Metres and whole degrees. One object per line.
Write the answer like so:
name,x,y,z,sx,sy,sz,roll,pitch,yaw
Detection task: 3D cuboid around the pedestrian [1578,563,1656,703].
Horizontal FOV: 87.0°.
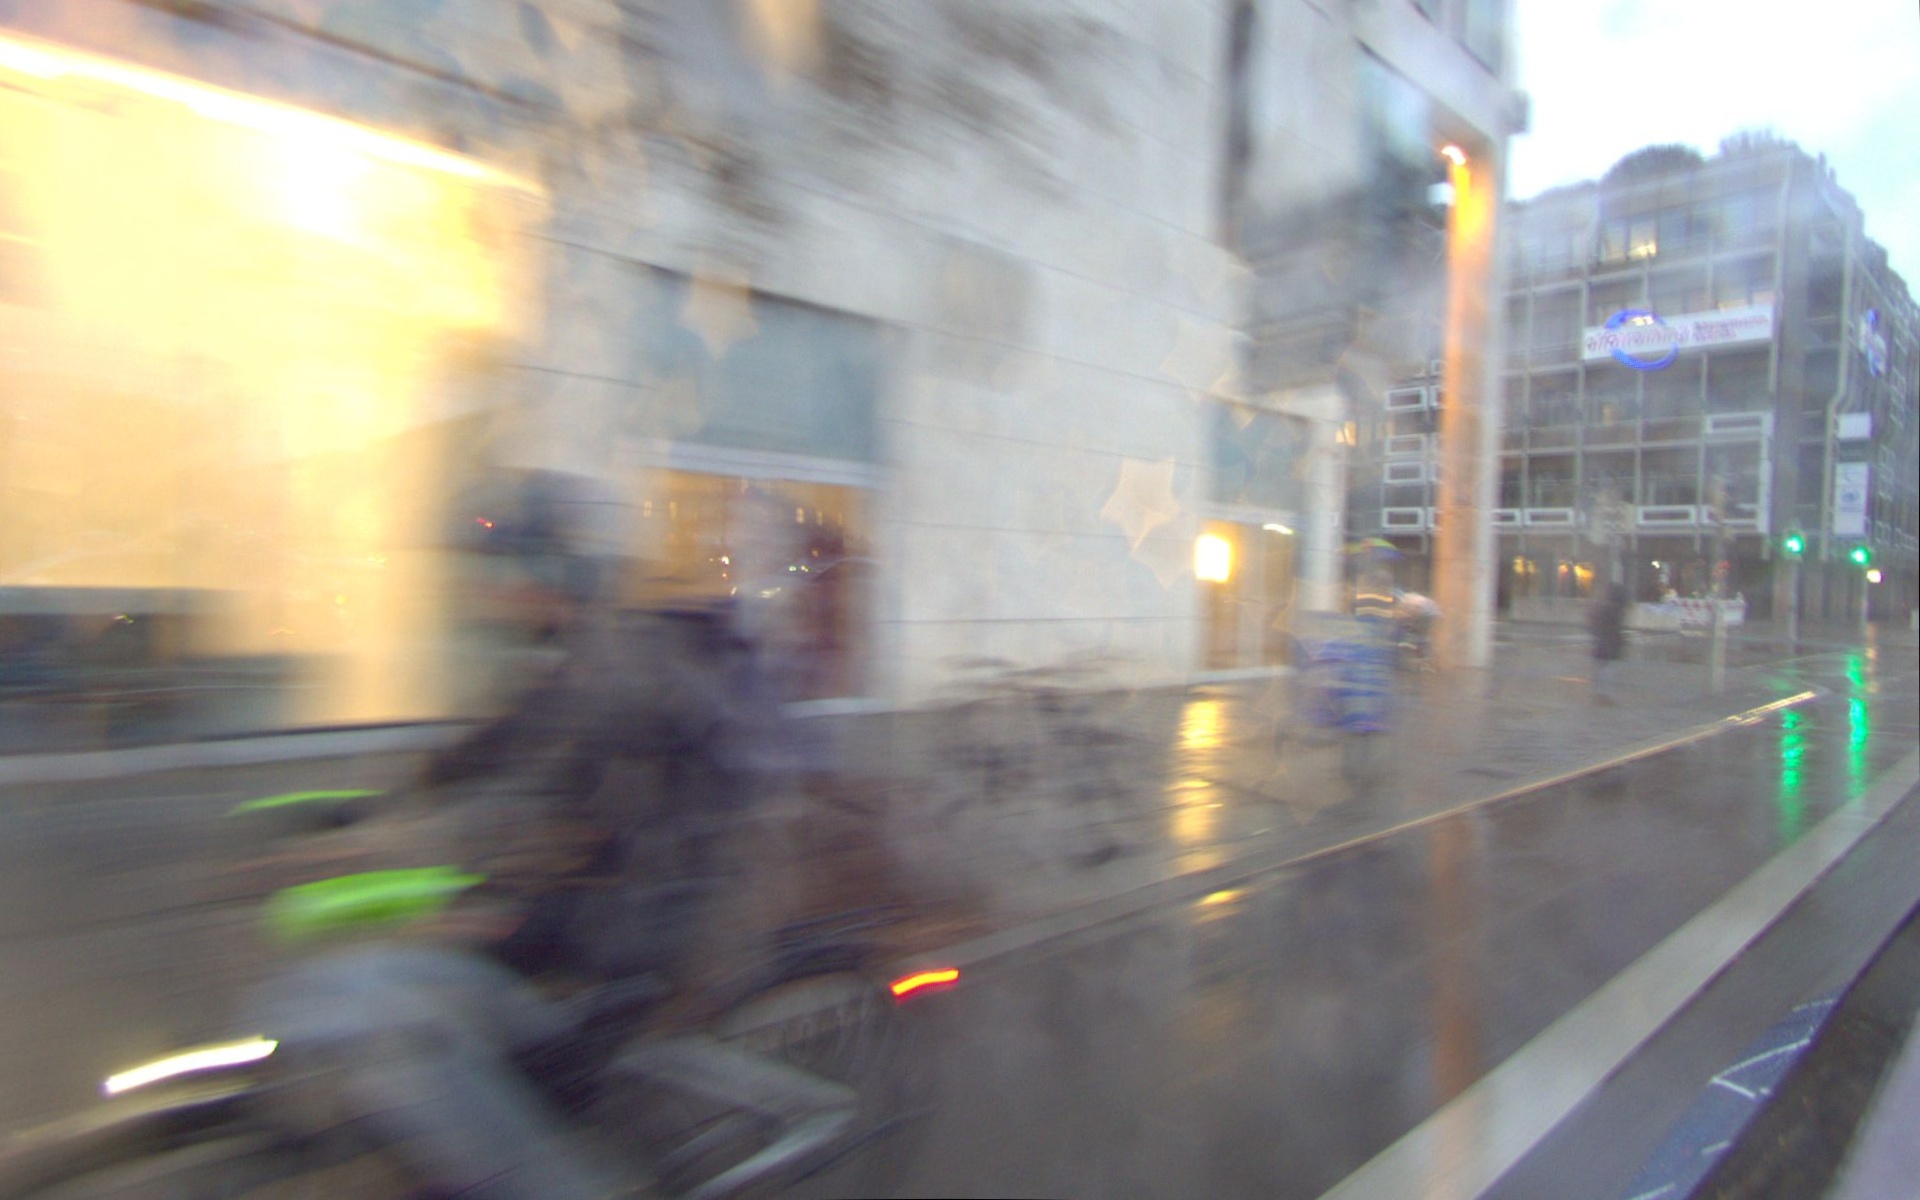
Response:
pedestrian,8.528,0.405,13.126,0.704,1.715,0.714,4,3,38

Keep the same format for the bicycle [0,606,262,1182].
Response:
bicycle,-2.693,0.686,3.151,0.655,1.189,1.908,0,4,-40

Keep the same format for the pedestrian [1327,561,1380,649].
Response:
pedestrian,7.419,0.089,19.081,0.492,1.628,0.779,1,0,-40

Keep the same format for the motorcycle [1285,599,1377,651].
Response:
motorcycle,6.942,0.446,19.002,0.387,0.901,1.636,1,1,-39

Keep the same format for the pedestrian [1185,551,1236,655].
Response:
pedestrian,4.477,0.049,18.121,0.613,1.828,0.616,1,0,-40

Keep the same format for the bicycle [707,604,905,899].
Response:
bicycle,-0.752,0.693,5.412,0.655,1.277,1.557,1,1,6

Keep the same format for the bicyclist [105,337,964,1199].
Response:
bicyclist,-0.699,0.467,1.702,1.046,1.481,0.946,0,1,-36

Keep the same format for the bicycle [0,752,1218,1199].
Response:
bicycle,-0.651,0.938,1.777,2.198,1.012,0.946,0,1,-36

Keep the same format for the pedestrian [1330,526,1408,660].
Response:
pedestrian,6.994,-0.136,17.323,0.696,2.219,0.963,0,1,-29

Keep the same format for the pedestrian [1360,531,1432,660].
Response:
pedestrian,7.609,-0.095,17.675,0.569,2.188,0.968,0,1,-29

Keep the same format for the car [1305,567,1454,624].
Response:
car,12.902,-0.194,31.300,1.824,1.509,3.827,-2,4,-38
